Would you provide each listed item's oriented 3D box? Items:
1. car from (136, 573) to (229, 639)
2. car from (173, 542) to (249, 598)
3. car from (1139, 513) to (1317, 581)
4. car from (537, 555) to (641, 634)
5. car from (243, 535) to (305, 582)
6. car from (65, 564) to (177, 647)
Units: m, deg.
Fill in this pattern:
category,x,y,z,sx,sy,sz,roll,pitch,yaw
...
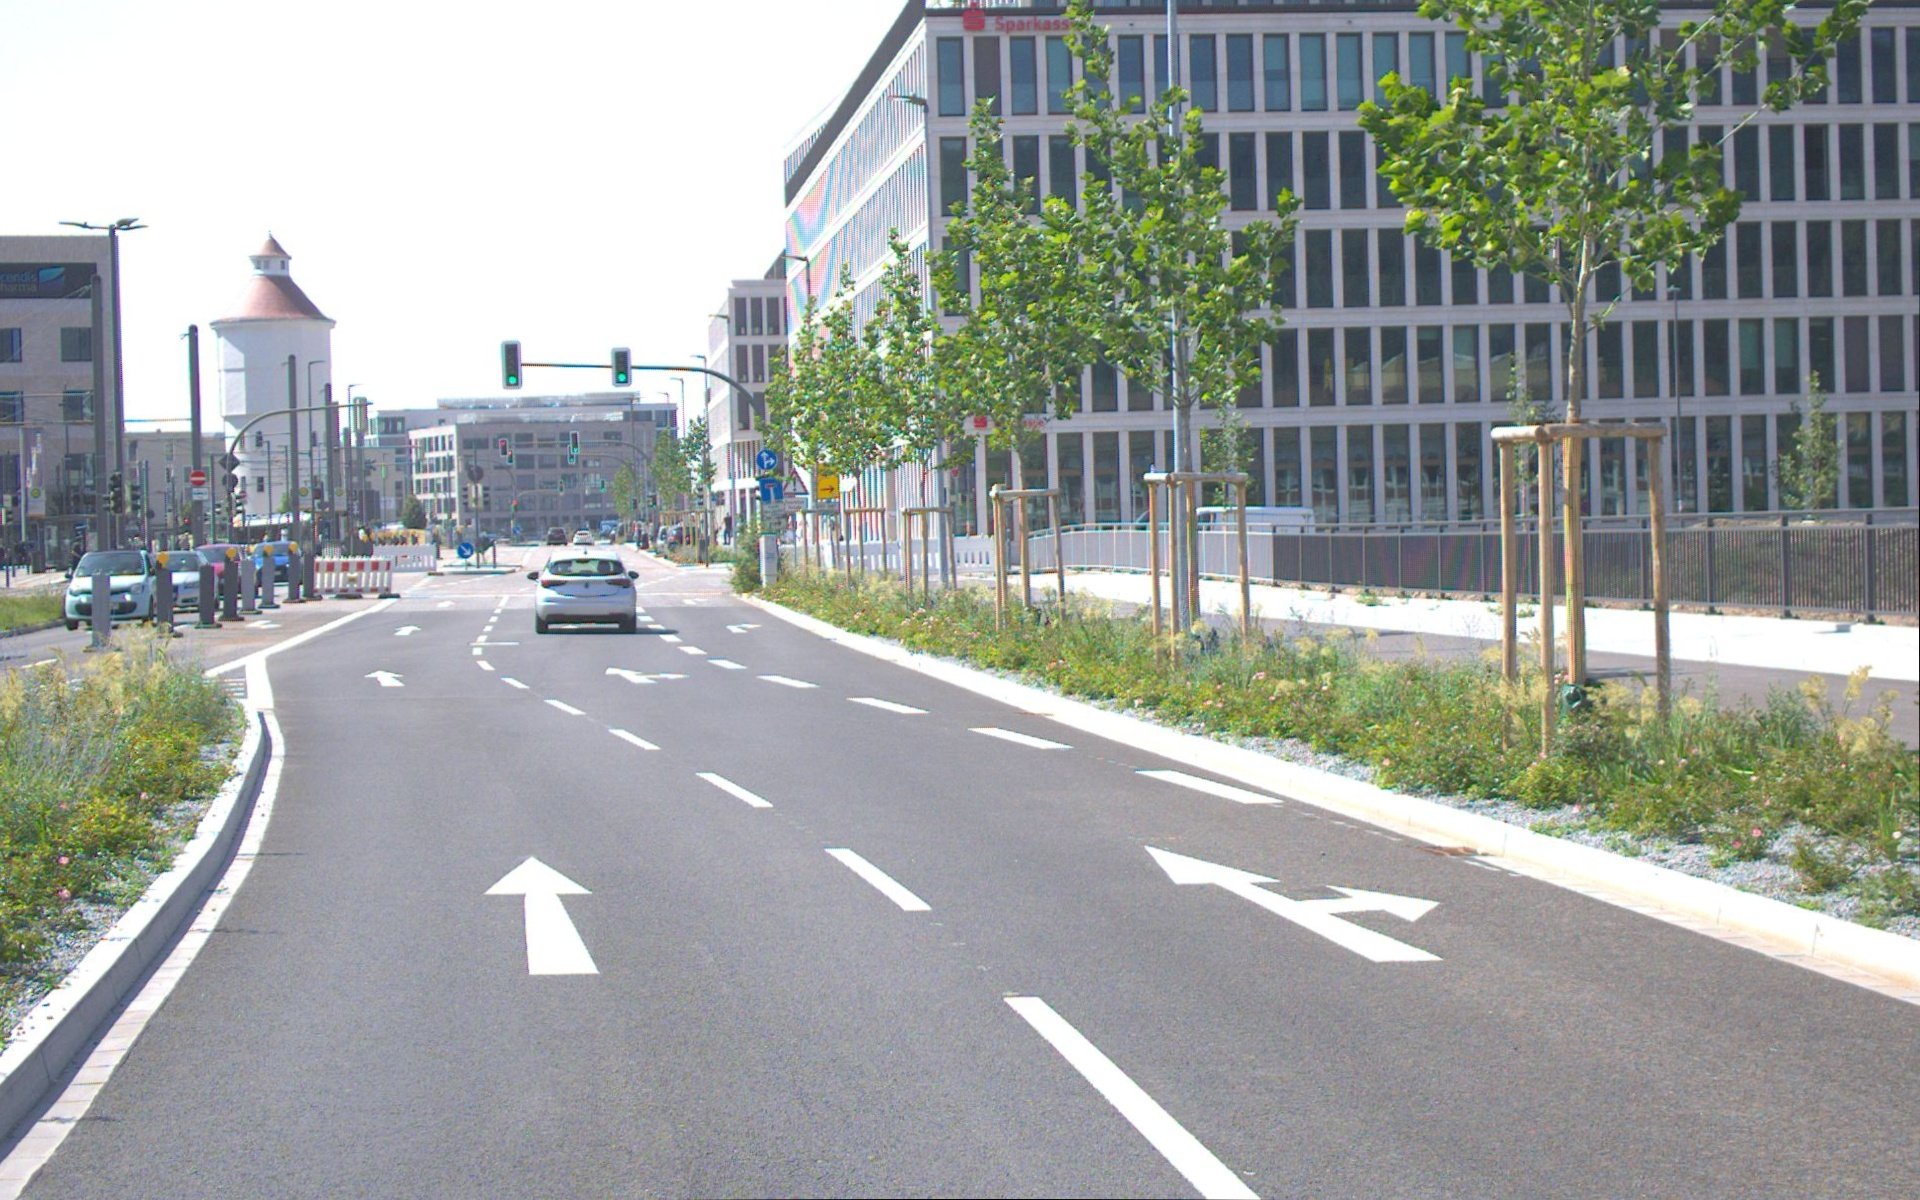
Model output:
category,x,y,z,sx,sy,sz,roll,pitch,yaw
car,-18.124,0.114,80.263,1.580,1.411,4.297,-2,1,-6
car,-20.059,-0.812,92.181,1.580,1.411,4.000,-2,1,-7
car,9.317,-1.841,119.733,5.835,2.262,2.147,1,1,-6
car,-6.648,-0.096,61.815,1.771,1.390,3.532,0,0,-5
car,-22.056,-1.351,110.591,1.628,1.422,4.291,-2,1,-8
car,-16.831,0.081,69.100,1.580,1.525,3.621,-3,1,-5
